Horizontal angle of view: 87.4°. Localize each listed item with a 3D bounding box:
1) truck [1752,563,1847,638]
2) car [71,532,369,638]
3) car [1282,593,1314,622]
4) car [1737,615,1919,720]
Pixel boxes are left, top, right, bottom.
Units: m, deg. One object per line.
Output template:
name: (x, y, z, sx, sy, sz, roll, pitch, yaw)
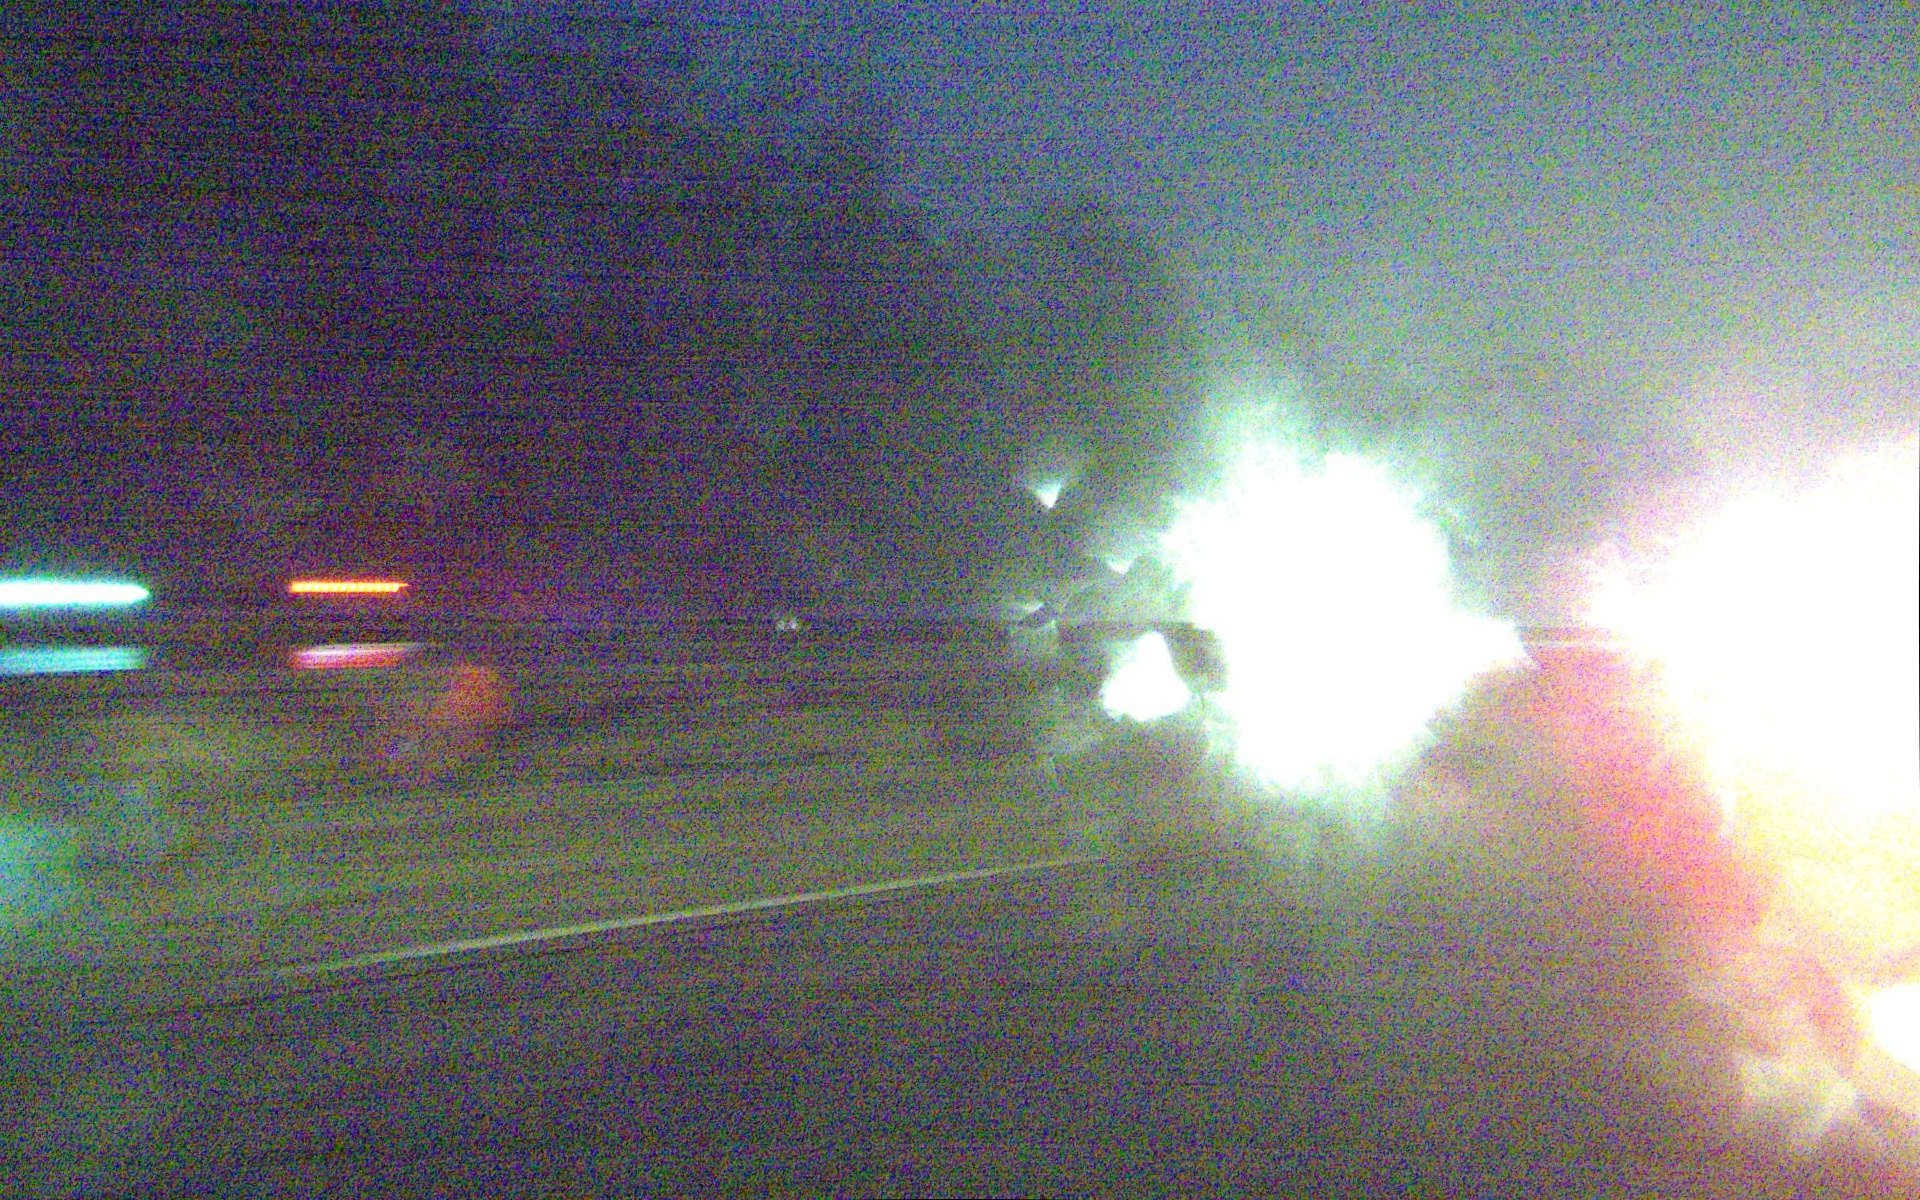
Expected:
truck: (42.112, 0.034, 50.385, 4.599, 3.504, 2.585, 2, 1, -37)
car: (-13.210, -0.237, 18.290, 4.151, 1.665, 1.886, 2, 1, -33)
car: (21.539, 0.463, 63.985, 1.800, 1.736, 4.000, 3, 1, 20)
car: (15.649, 1.101, 17.557, 4.863, 1.537, 1.757, 1, 1, -34)
